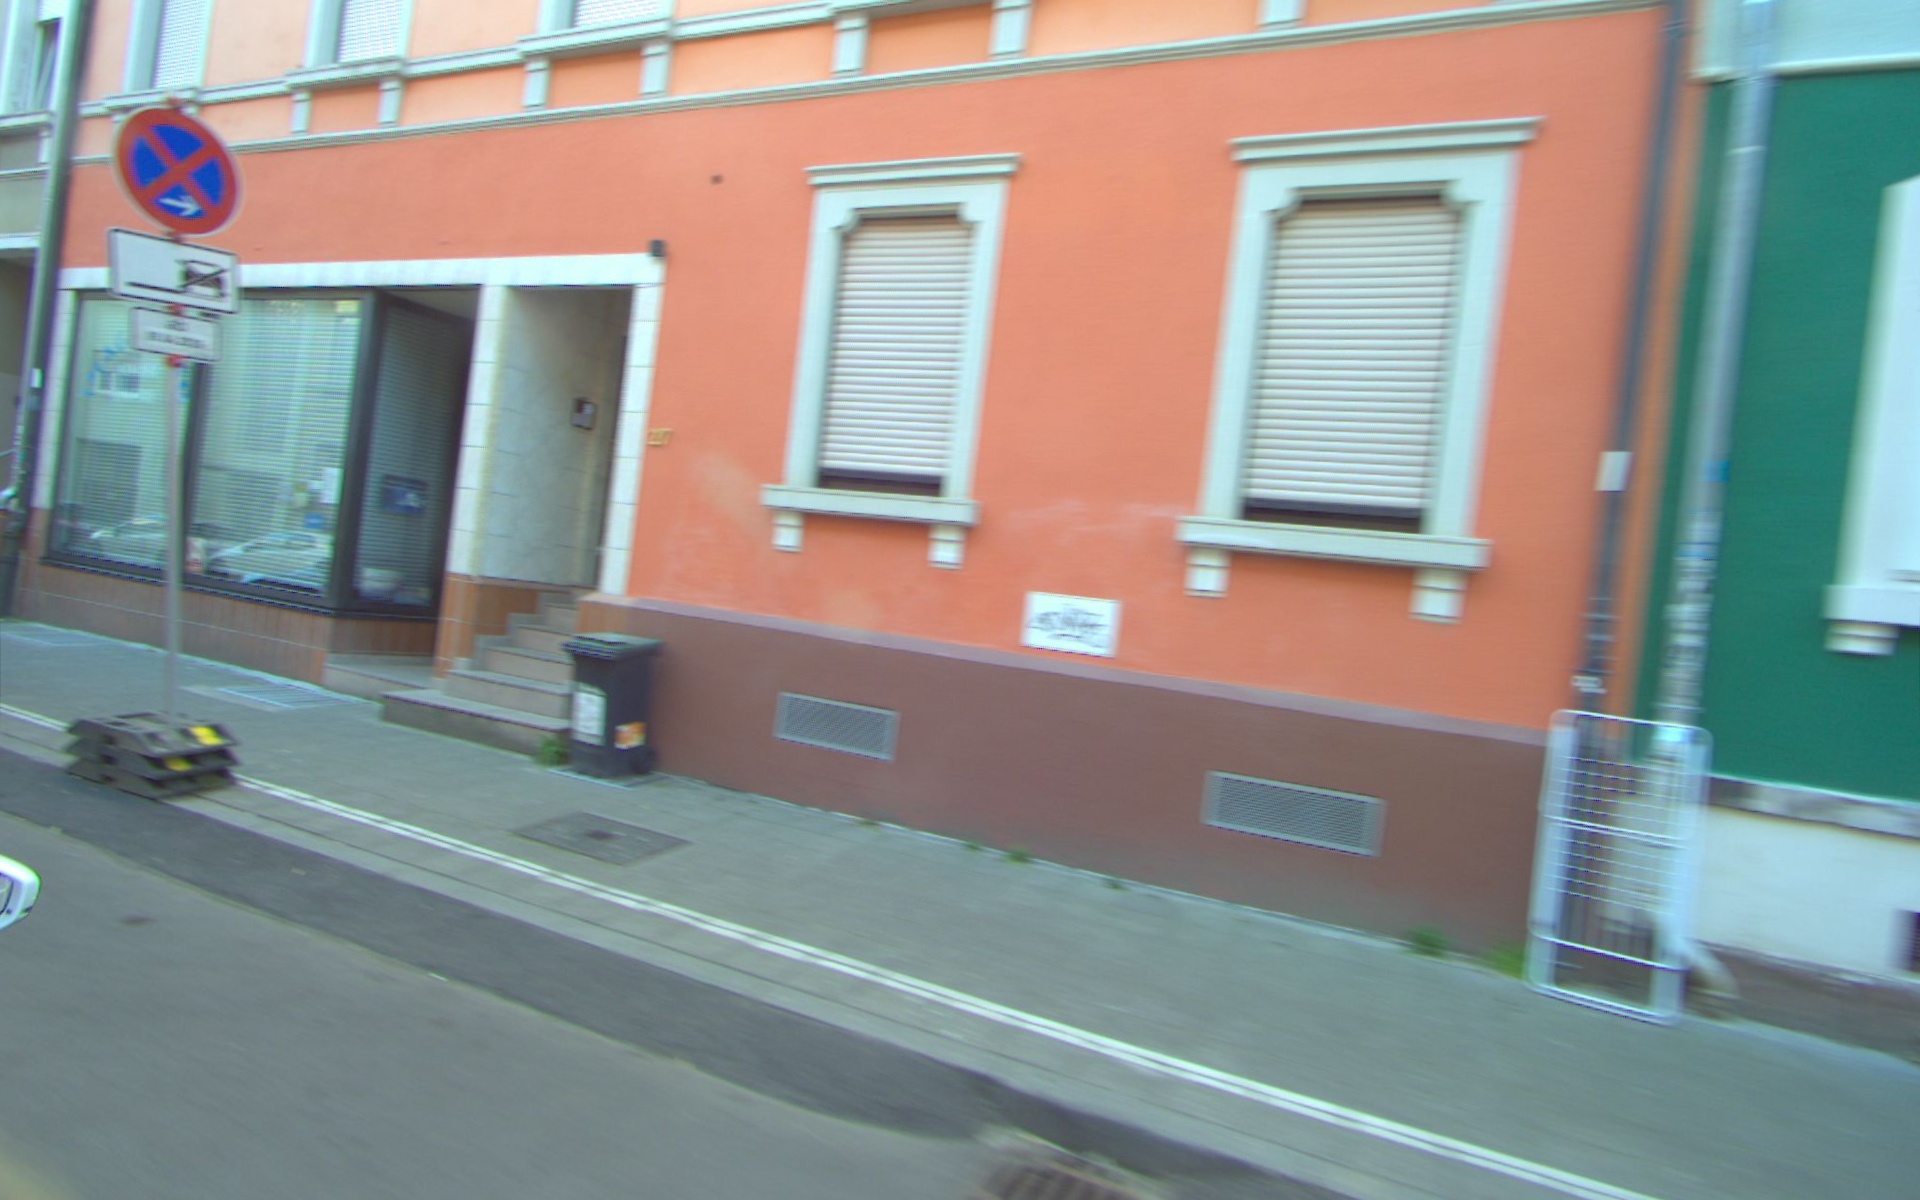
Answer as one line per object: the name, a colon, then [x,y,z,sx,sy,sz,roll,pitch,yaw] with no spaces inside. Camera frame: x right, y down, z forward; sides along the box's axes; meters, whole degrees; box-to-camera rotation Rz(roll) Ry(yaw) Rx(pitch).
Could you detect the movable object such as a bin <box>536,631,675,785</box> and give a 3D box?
movable object such as a bin: [-2.366,0.695,6.736,0.569,0.918,0.598,6,2,22]
